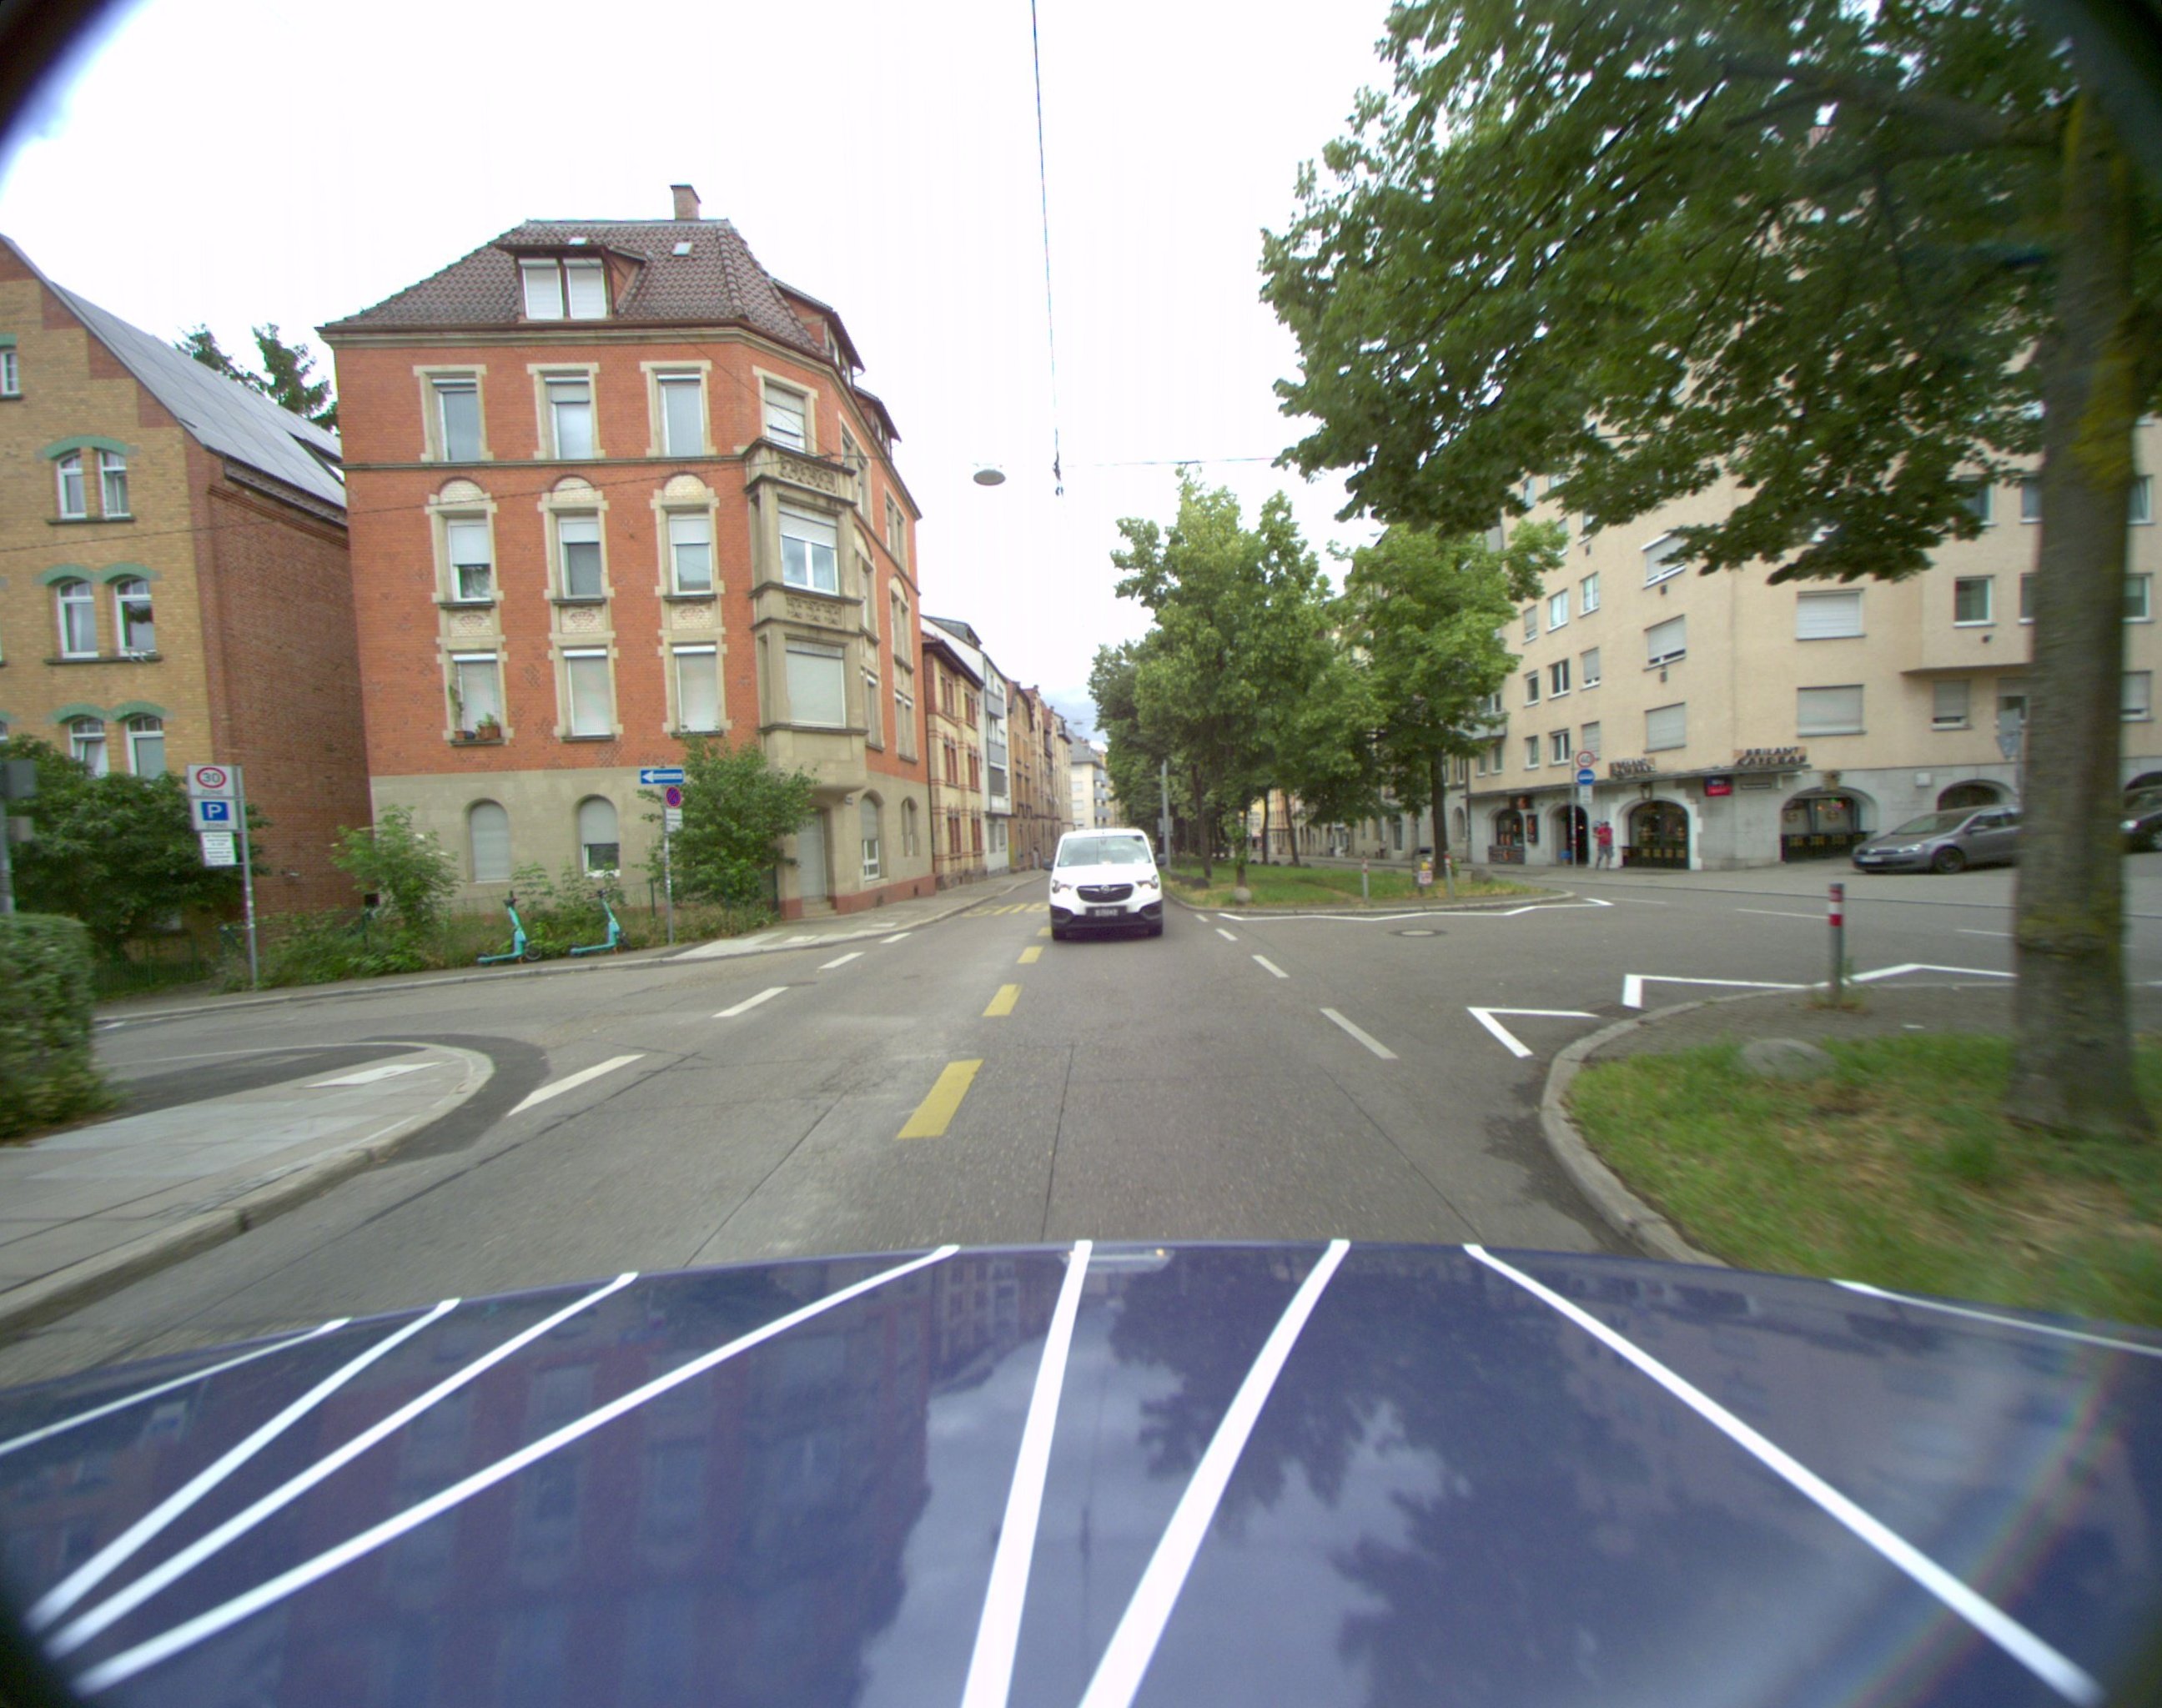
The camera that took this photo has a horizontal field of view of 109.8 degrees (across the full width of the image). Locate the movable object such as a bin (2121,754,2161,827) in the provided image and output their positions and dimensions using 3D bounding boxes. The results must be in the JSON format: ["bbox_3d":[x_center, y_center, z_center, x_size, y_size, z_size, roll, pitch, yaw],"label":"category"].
[{"bbox_3d":[30.850,-1.831,21.240,1.998,2.002,1.094,-3,2,2],"label":"movable object such as a bin"}]

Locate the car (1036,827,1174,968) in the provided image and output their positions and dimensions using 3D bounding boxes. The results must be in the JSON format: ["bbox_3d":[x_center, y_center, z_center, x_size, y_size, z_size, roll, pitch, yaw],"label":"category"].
[{"bbox_3d":[0.574,0.535,12.293,1.745,1.831,4.344,-2,1,7],"label":"car"}]

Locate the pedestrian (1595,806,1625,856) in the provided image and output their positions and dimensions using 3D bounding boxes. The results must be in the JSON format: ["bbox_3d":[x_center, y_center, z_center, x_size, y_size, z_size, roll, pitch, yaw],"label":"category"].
[{"bbox_3d":[17.979,-0.783,25.826,0.533,1.657,0.701,-2,2,3],"label":"pedestrian"}]

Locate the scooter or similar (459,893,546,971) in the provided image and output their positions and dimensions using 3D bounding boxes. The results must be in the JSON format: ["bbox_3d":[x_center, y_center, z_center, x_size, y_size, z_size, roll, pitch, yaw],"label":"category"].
[{"bbox_3d":[-10.714,1.443,14.083,1.088,1.265,0.415,-7,4,1],"label":"scooter or similar"}]

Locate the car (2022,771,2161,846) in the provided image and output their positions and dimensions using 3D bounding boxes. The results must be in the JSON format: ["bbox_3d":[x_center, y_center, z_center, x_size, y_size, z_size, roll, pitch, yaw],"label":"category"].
[{"bbox_3d":[25.672,-1.156,18.124,3.998,1.412,1.999,-7,1,-2],"label":"car"}]

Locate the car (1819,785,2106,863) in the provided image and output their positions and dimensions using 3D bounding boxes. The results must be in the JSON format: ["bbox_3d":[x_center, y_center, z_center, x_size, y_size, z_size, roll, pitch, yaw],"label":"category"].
[{"bbox_3d":[20.996,-0.685,18.277,4.298,1.412,2.048,-5,0,3],"label":"car"}]

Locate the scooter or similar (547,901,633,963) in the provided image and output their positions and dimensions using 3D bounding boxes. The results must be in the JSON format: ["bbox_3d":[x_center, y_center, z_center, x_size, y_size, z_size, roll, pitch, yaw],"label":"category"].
[{"bbox_3d":[-9.120,1.447,14.127,1.237,1.010,0.415,-4,2,1],"label":"scooter or similar"}]

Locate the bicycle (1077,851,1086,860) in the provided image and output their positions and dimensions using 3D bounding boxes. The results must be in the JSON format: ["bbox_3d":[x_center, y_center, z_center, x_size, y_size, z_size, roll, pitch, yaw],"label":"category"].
[{"bbox_3d":[0.081,0.228,96.718,0.683,1.142,2.942,-2,-1,7],"label":"bicycle"}]
